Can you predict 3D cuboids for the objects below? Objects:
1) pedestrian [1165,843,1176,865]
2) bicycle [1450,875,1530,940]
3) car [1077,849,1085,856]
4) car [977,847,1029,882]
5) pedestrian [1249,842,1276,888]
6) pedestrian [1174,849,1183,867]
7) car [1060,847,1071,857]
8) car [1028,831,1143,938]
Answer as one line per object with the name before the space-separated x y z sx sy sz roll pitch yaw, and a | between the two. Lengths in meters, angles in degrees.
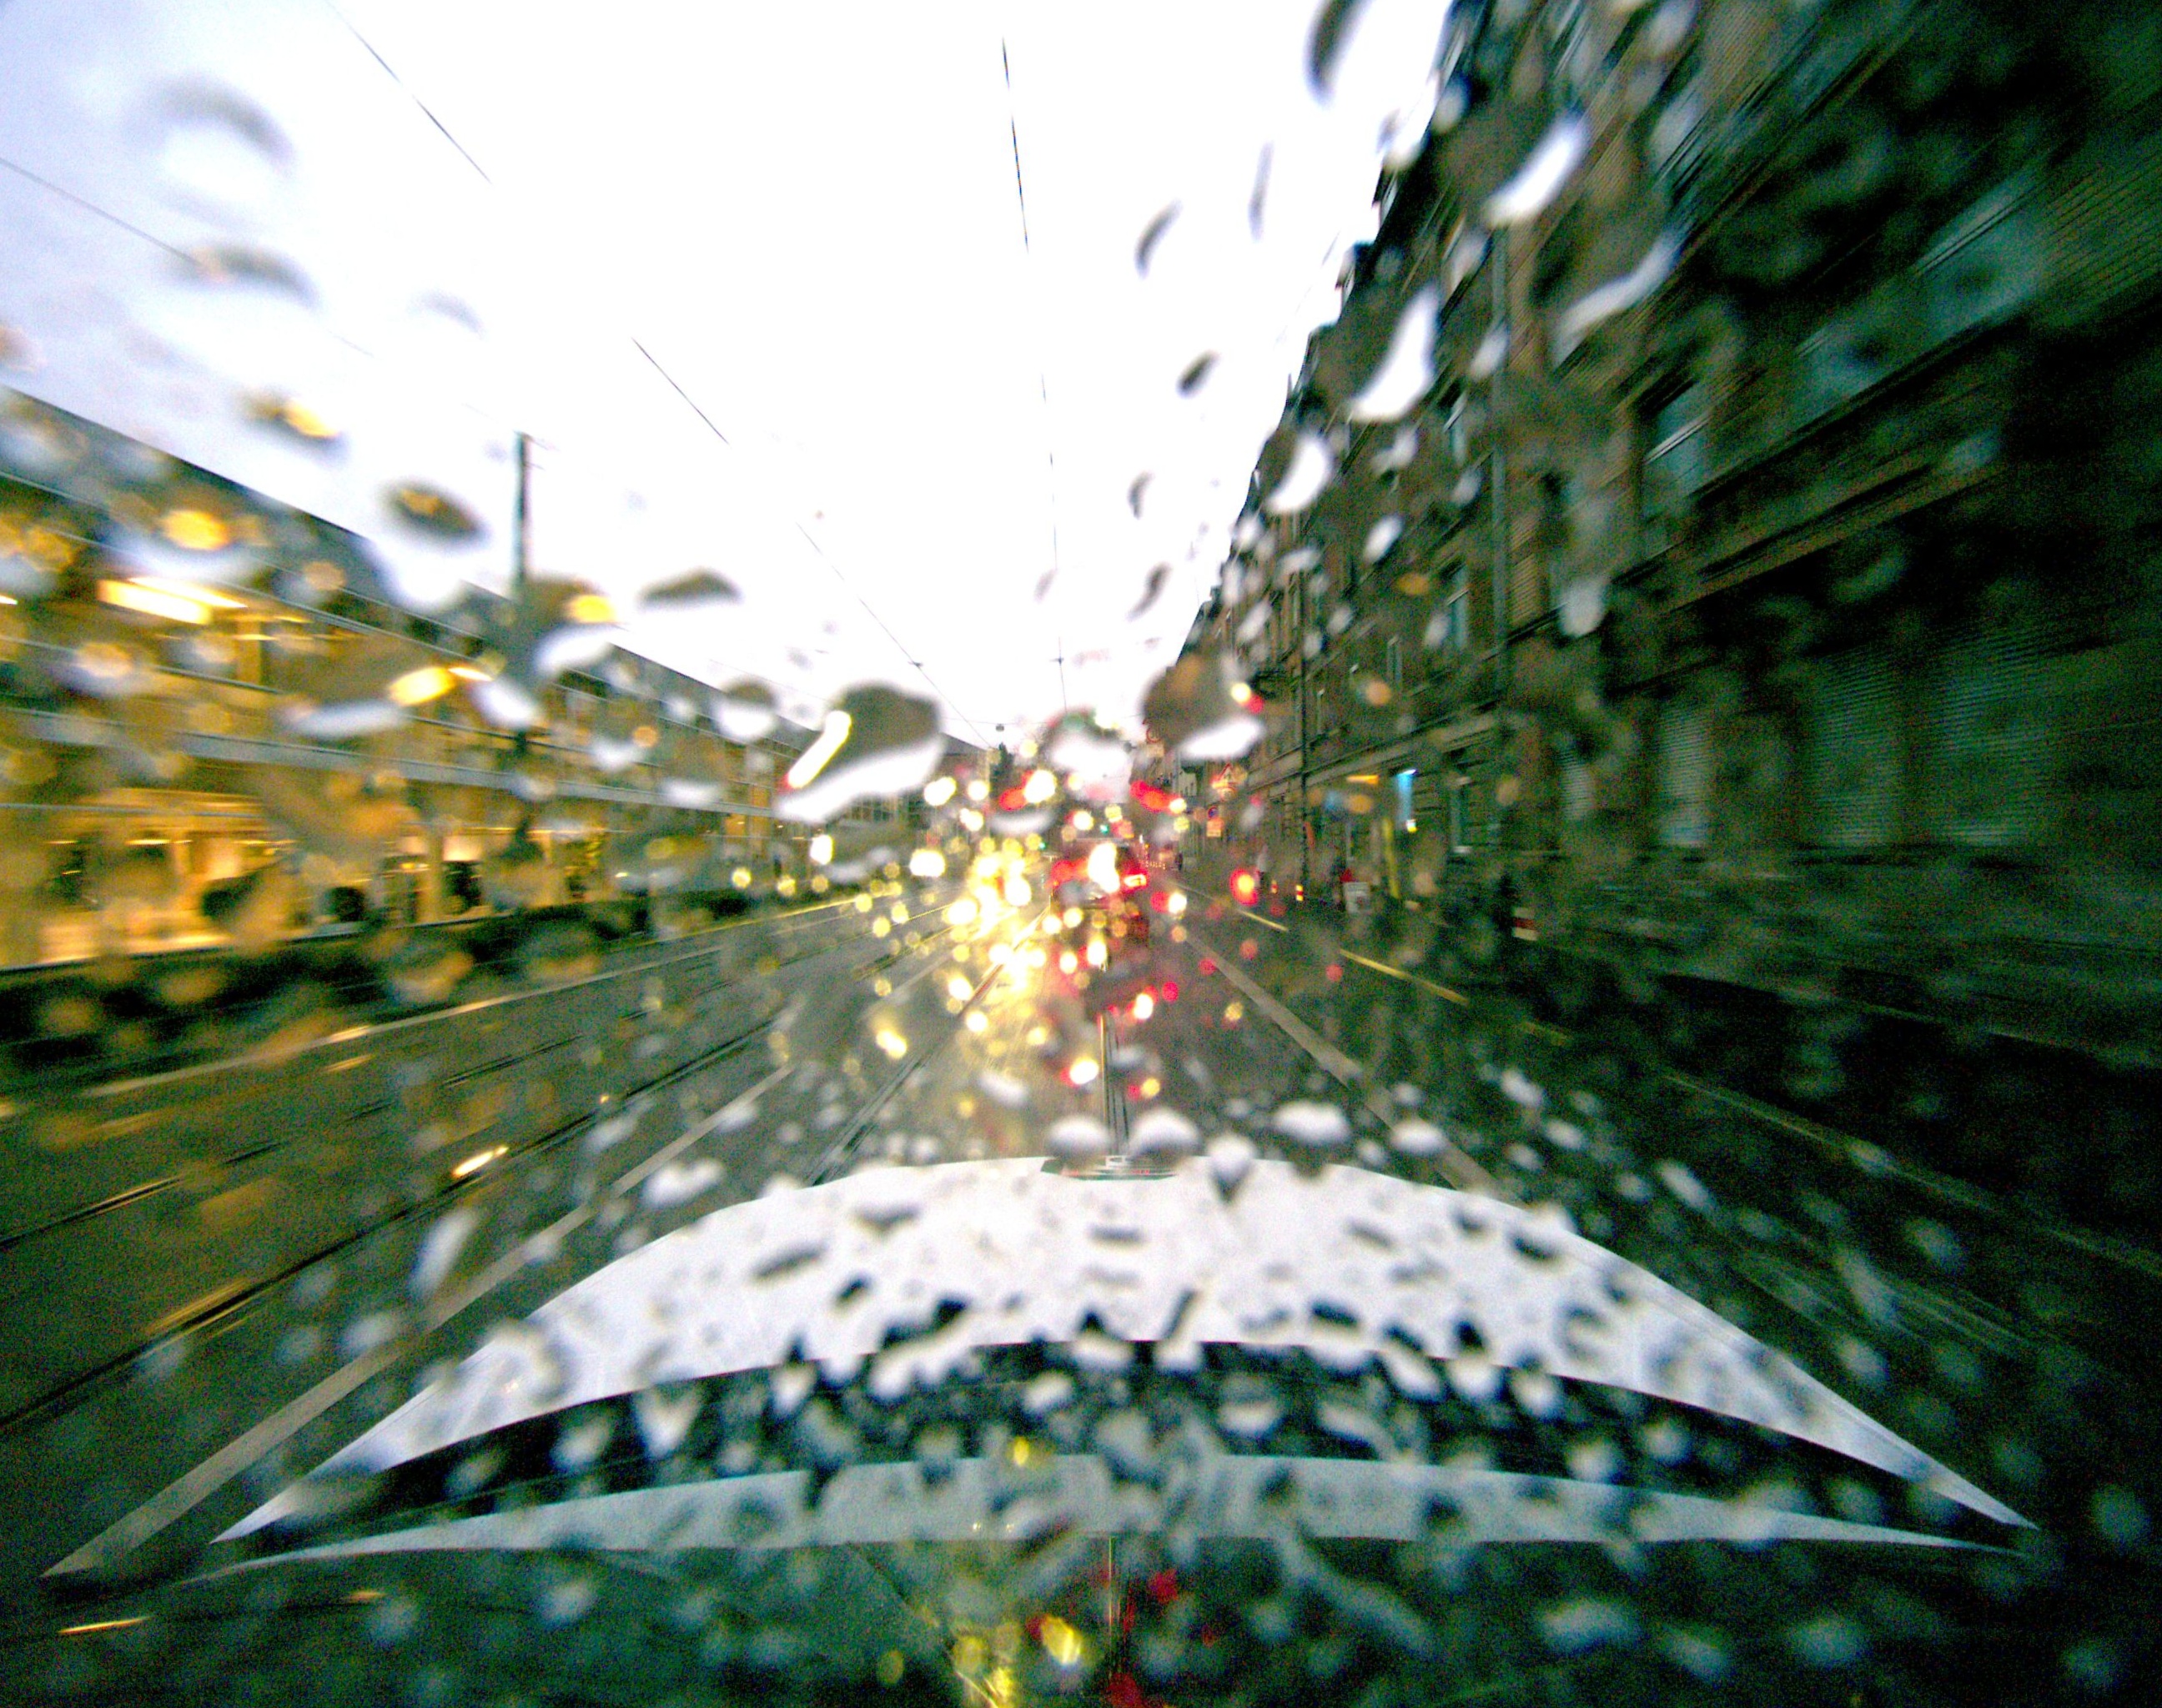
pedestrian | 7.279 0.013 66.173 0.602 1.818 0.769 0 -1 -27
bicycle | 6.616 0.835 13.265 0.396 0.911 1.867 -1 0 1
car | -0.003 -0.403 177.423 1.524 1.481 3.562 -1 0 1
car | -3.701 0.474 39.280 1.834 1.578 4.445 -1 0 2
pedestrian | 6.370 0.389 28.627 0.783 1.597 0.742 -1 0 2
pedestrian | 7.220 0.308 60.484 0.598 1.376 0.728 0 -1 0
car | -2.921 -0.342 151.418 1.869 1.709 4.760 -1 0 0
car | 0.203 0.523 16.068 1.985 1.842 4.004 0 0 4
